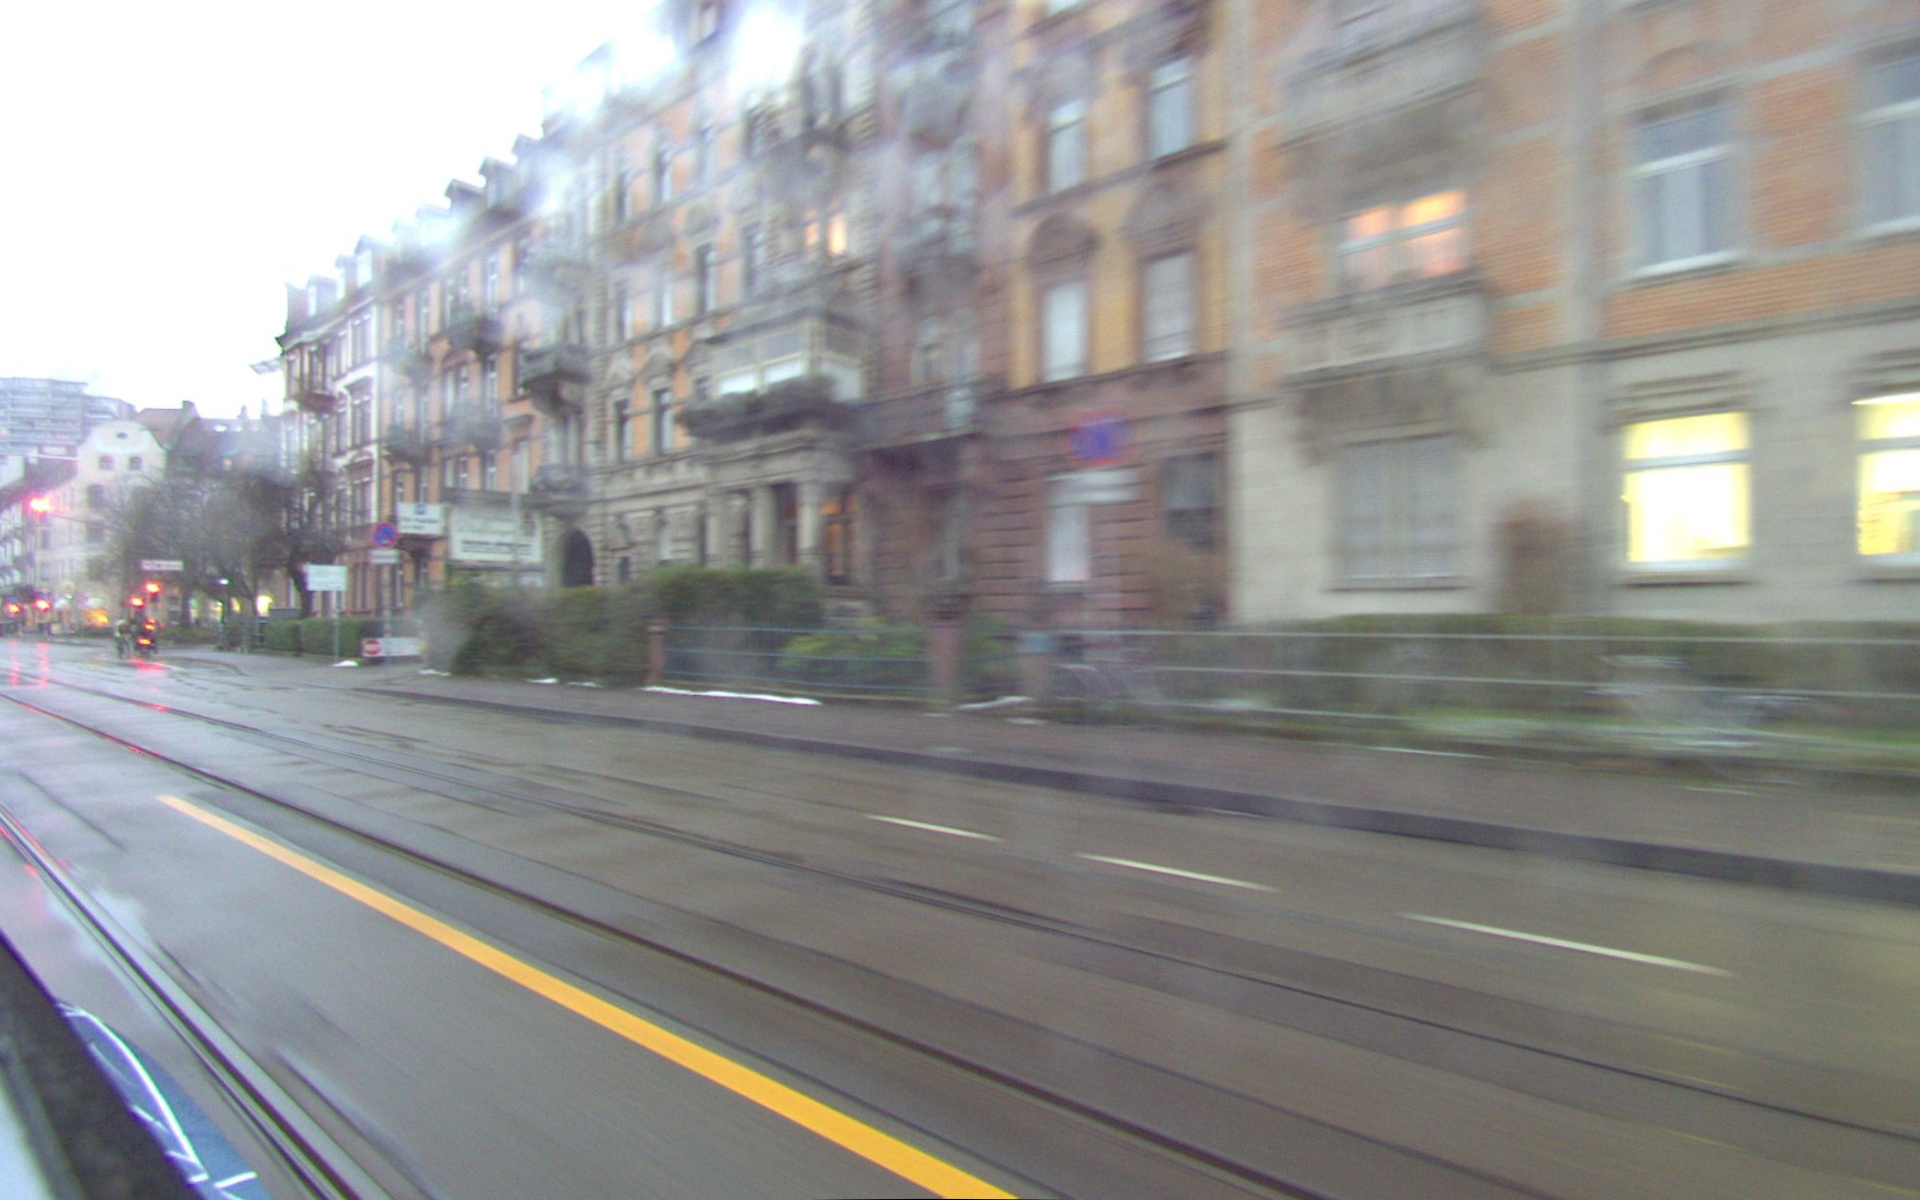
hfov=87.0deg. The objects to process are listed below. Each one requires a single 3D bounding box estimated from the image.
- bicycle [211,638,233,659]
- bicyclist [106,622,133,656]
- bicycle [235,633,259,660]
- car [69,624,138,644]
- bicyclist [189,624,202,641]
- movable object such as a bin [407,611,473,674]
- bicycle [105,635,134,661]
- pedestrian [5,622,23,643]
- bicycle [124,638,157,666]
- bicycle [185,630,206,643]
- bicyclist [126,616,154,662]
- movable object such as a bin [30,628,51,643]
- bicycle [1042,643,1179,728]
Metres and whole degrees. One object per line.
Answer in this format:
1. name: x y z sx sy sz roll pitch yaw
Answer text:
1. bicycle: -32.238 2.120 44.192 1.849 0.869 0.395 -1 -1 42
2. bicyclist: -35.113 1.632 42.290 0.943 1.374 0.697 -1 0 41
3. bicycle: -28.777 1.865 40.820 1.849 1.014 0.412 -1 -1 42
4. car: -71.989 2.835 85.140 4.272 1.595 1.941 1 -2 -37
5. bicyclist: -65.251 2.757 86.400 0.759 1.374 0.528 -1 0 17
6. movable object such as a bin: -13.824 1.120 26.905 1.229 1.598 1.308 -1 -1 -44
7. bicycle: -35.250 1.999 42.428 1.802 1.014 0.674 -1 -2 42
8. pedestrian: -87.244 3.000 93.369 0.785 1.892 0.897 -2 1 -13
9. bicycle: -29.834 1.878 36.832 1.933 0.979 0.671 -1 -1 42
10. bicycle: -65.248 3.116 86.402 1.796 1.014 0.489 -1 -1 18
11. bicyclist: -29.872 1.404 36.870 0.765 1.628 0.676 -1 -1 42
12. movable object such as a bin: -90.956 3.523 100.093 1.280 1.382 1.336 -1 1 40
13. bicycle: 1.766 0.995 12.054 1.684 0.922 0.260 -2 4 41
